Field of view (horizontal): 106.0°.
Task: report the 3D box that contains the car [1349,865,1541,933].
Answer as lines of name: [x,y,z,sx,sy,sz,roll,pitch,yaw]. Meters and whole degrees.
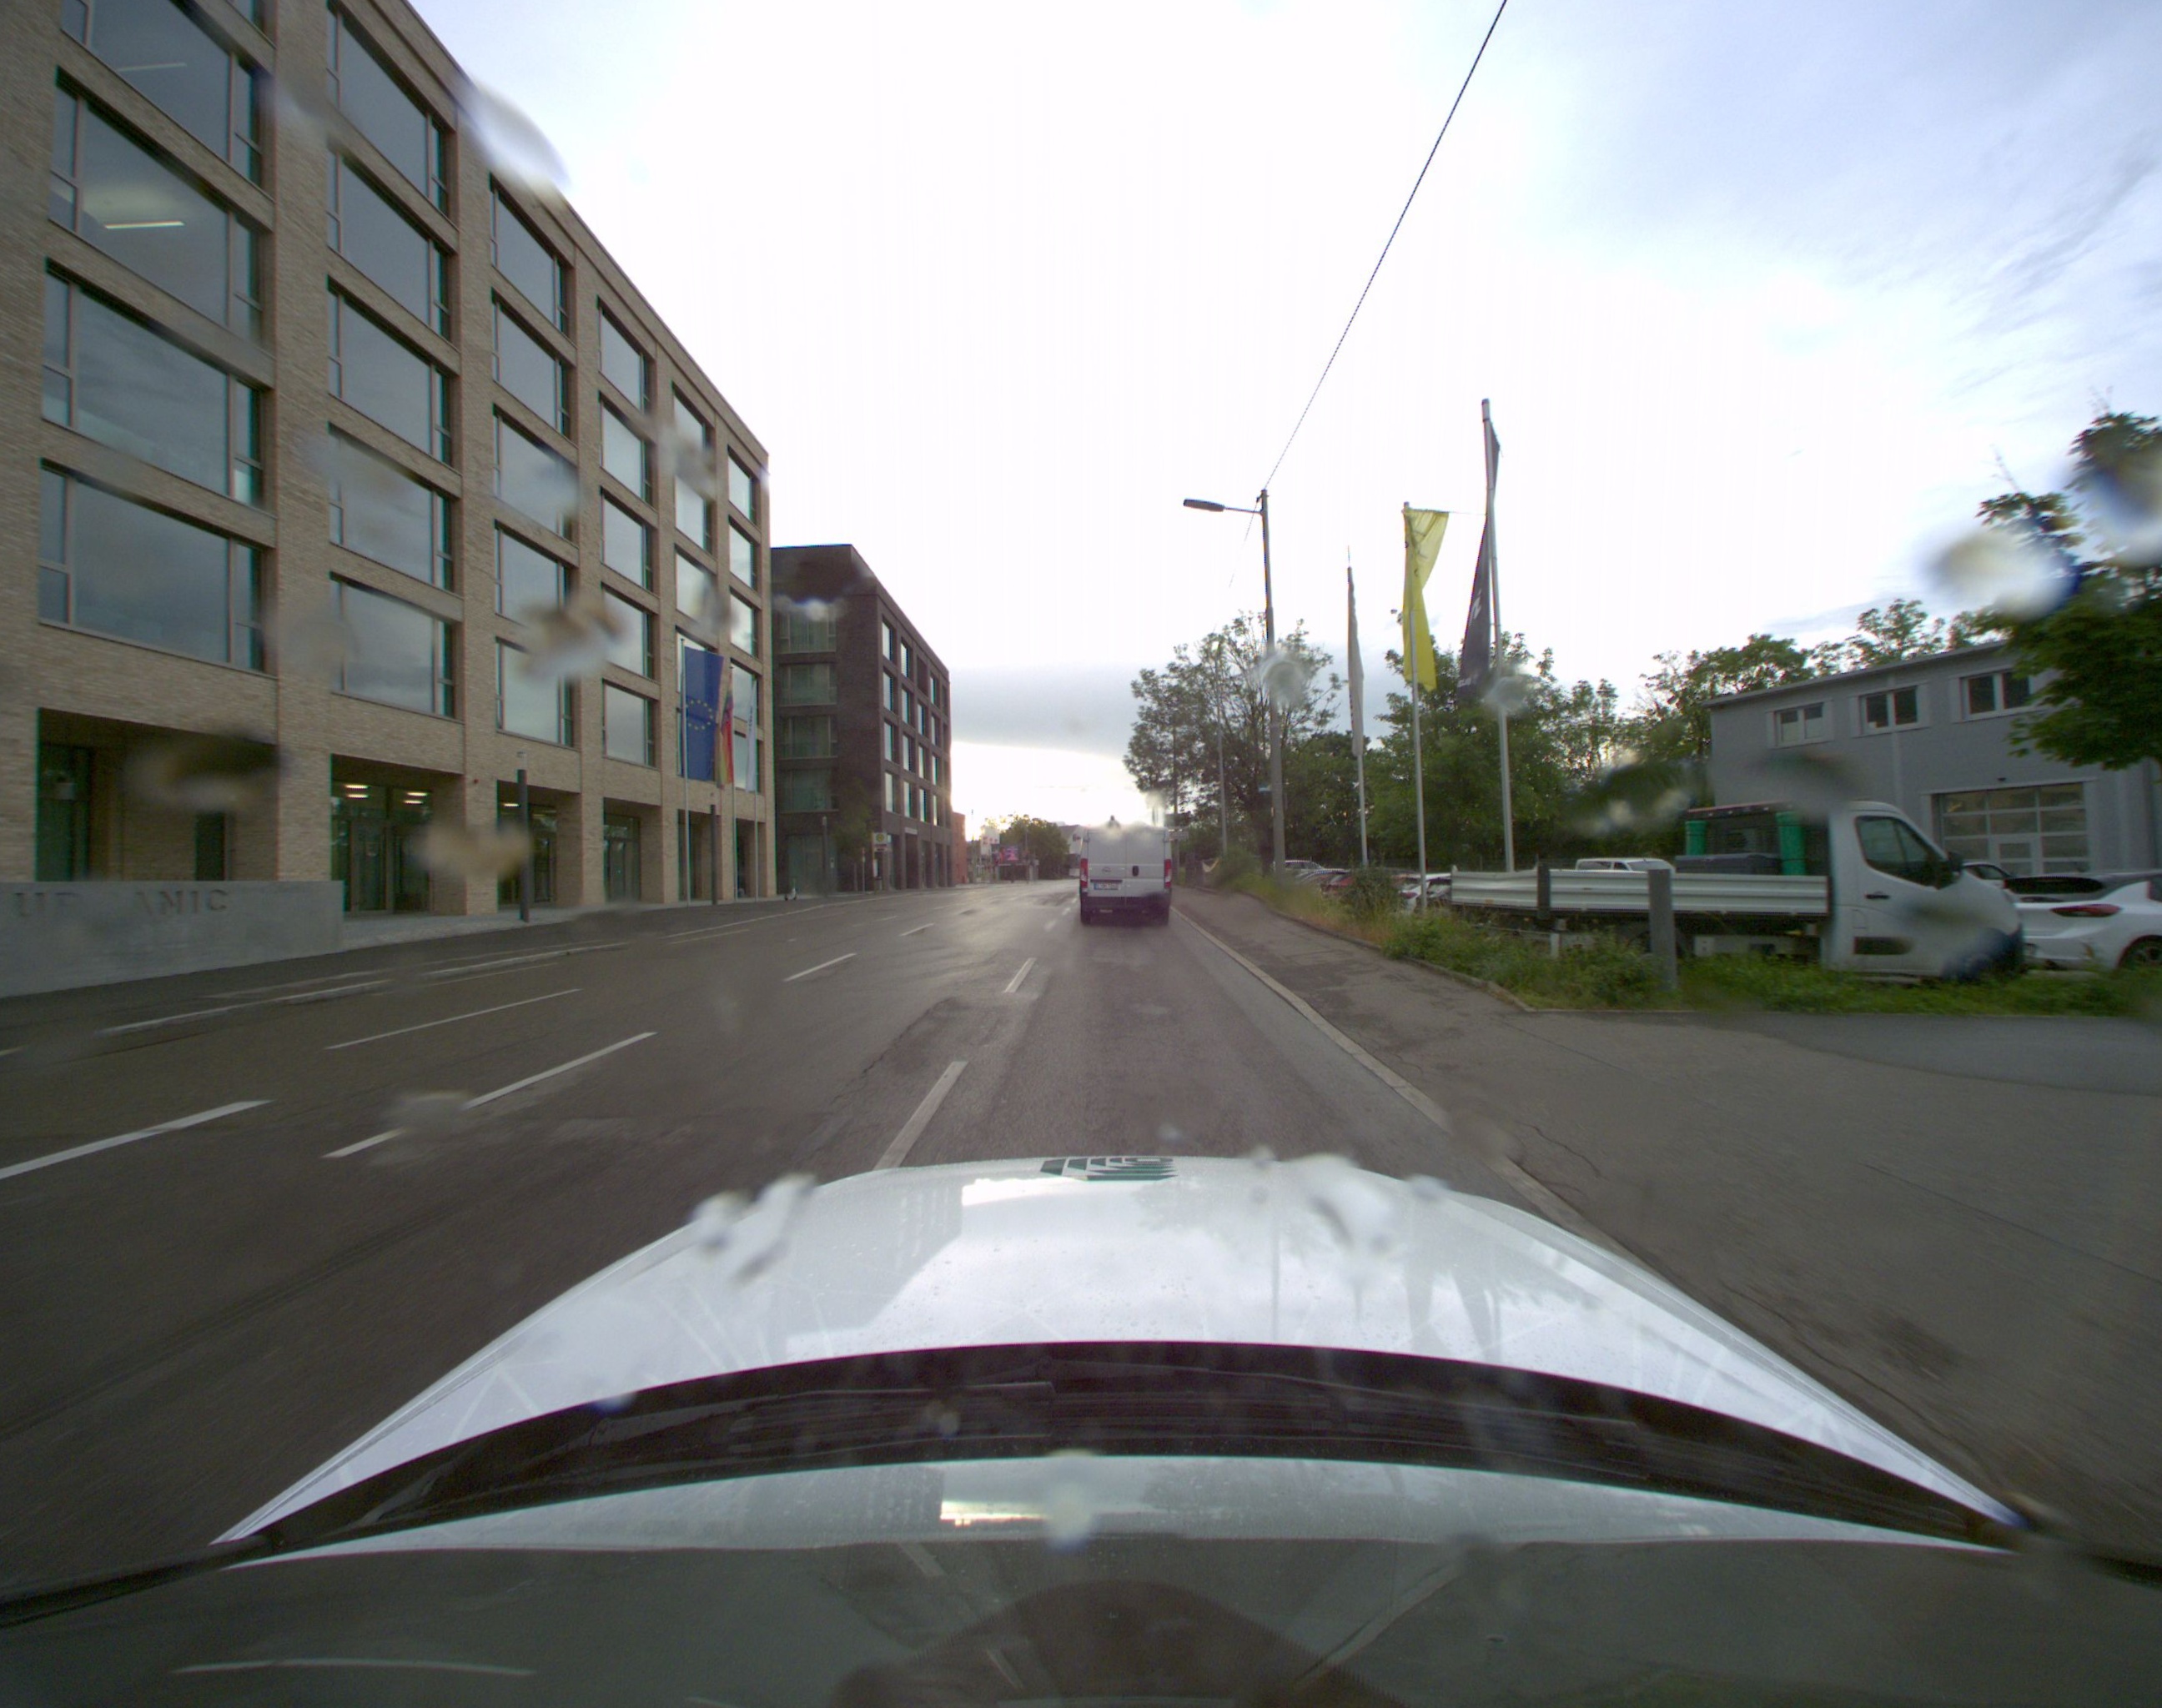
car: [8.886,1.082,20.105,3.972,1.508,1.761,-1,0,1]

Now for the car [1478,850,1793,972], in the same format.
car: [8.349,0.807,12.494,3.681,1.670,1.735,-1,0,-2]

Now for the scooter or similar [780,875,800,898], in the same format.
scooter or similar: [-13.907,1.531,38.954,0.349,1.072,1.429,-1,-2,3]

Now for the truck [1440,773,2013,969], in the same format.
truck: [7.420,0.169,9.863,5.132,2.013,2.345,-1,0,-1]

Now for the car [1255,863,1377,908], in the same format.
car: [8.697,1.138,30.292,3.978,1.522,1.801,-1,0,-4]

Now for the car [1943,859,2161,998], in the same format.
car: [13.200,0.836,9.925,3.676,1.519,1.559,-1,0,2]

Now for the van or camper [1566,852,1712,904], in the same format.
van or camper: [21.278,0.840,31.410,1.985,1.788,5.620,-1,0,3]

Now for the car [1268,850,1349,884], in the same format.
car: [12.769,0.717,45.845,3.979,1.521,1.801,-5,0,-4]

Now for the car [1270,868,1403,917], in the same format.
car: [8.668,1.301,27.878,3.972,1.522,1.804,-1,0,1]

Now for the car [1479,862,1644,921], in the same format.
car: [13.343,1.009,22.754,3.676,1.519,1.559,-1,0,2]

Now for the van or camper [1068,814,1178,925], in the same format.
van or camper: [1.029,0.320,20.091,2.330,2.357,5.203,-1,0,3]

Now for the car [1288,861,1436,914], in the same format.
car: [8.627,1.005,25.219,3.972,1.522,1.804,-1,0,1]

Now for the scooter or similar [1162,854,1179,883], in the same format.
scooter or similar: [5.093,0.811,46.276,0.436,1.587,1.264,-1,0,-20]

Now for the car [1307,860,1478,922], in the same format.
car: [8.596,1.011,22.709,4.113,1.589,1.761,-1,0,2]

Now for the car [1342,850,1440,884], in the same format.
car: [14.659,0.602,38.613,3.978,1.522,1.801,-1,0,-4]

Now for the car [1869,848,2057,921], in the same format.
car: [23.520,0.757,21.751,3.997,1.601,1.830,-3,0,-17]

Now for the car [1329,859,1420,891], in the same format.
car: [14.820,1.034,41.219,3.978,1.522,1.801,-1,0,-4]

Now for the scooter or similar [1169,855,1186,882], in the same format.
scooter or similar: [5.515,0.815,46.443,0.436,1.564,1.264,-1,0,-20]

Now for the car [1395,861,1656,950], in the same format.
car: [8.136,0.902,15.165,3.850,1.454,1.915,-1,0,-2]

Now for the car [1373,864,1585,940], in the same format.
car: [8.554,1.015,17.787,3.748,1.494,1.812,-1,0,3]
